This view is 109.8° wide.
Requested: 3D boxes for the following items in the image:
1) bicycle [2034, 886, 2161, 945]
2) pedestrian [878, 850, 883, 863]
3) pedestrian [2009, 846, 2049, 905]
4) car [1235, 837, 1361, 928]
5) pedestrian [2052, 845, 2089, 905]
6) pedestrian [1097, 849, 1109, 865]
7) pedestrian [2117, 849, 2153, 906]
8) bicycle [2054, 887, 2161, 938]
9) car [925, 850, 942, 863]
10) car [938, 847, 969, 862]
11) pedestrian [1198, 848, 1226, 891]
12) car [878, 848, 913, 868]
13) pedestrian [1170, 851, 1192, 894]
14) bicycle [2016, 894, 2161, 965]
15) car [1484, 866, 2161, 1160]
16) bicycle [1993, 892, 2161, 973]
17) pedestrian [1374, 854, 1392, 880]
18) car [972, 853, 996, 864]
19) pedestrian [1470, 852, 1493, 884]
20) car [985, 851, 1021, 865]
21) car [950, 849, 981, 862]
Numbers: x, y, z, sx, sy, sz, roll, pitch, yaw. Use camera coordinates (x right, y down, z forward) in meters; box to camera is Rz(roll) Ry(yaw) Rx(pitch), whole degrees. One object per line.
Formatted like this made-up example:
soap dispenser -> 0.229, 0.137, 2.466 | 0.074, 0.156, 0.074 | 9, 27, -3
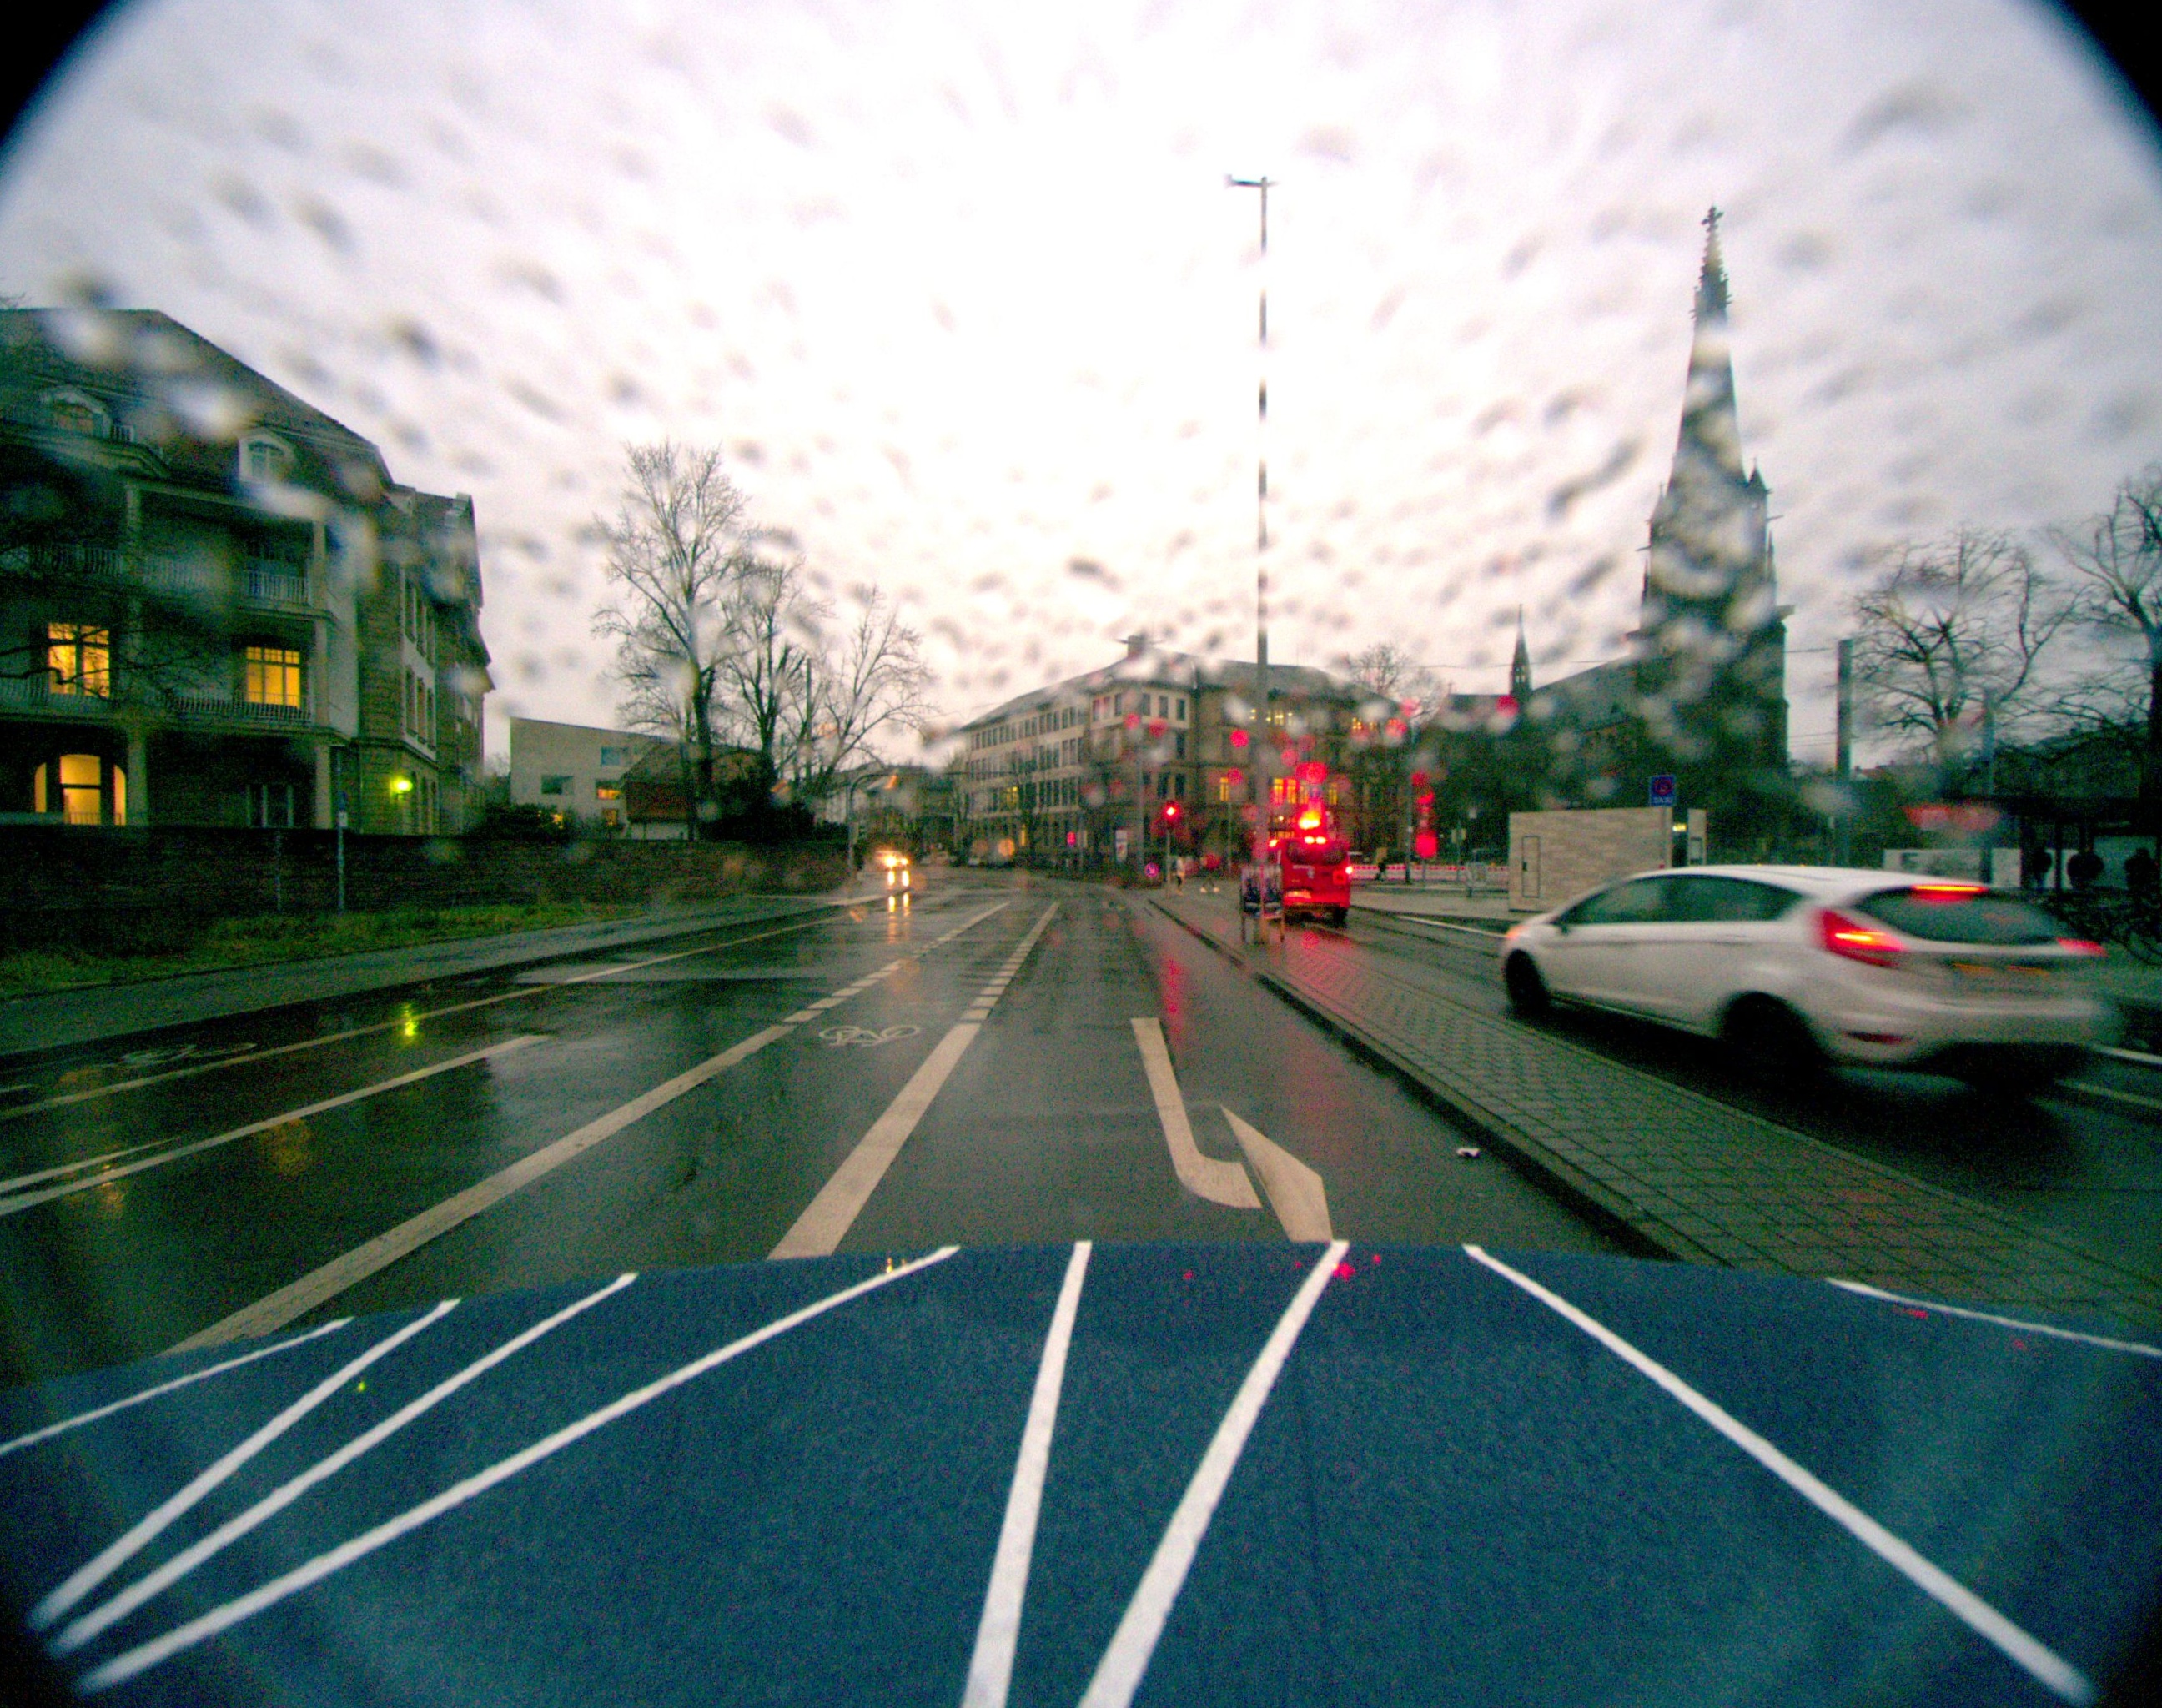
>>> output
bicycle -> 19.692, 1.167, 14.432 | 0.475, 0.980, 1.921 | -2, 2, -30
pedestrian -> -31.365, 0.357, 118.896 | 0.548, 2.002, 0.473 | 0, 1, -33
pedestrian -> 29.655, 0.656, 23.780 | 0.668, 1.785, 0.828 | -1, 2, 43
car -> 5.488, 0.655, 19.883 | 1.929, 2.058, 4.643 | 1, 0, 0
pedestrian -> 30.236, 0.641, 23.219 | 0.673, 1.785, 0.626 | -3, 2, -41
pedestrian -> 2.288, 0.315, 80.099 | 0.829, 1.714, 0.926 | 0, 0, -37
pedestrian -> 31.048, 0.690, 22.391 | 0.541, 1.642, 0.562 | -3, 2, -41
bicycle -> 20.848, 1.159, 15.021 | 0.475, 0.905, 1.921 | -2, 2, -30
car -> -20.735, 0.364, 106.850 | 2.000, 1.660, 3.997 | -2, 1, -7
car -> -16.995, 0.069, 101.476 | 2.043, 1.889, 4.007 | -2, 1, 28
pedestrian -> 5.901, 0.686, 34.272 | 1.000, 1.890, 0.673 | 1, 1, -14
car -> -19.800, 0.474, 80.799 | 2.003, 2.002, 4.879 | -3, 1, -33
pedestrian -> 4.055, 0.755, 30.912 | 0.798, 1.713, 0.674 | 1, 1, 0
bicycle -> 16.617, 1.212, 12.220 | 0.475, 0.980, 1.921 | -2, 2, -30
car -> 5.114, 0.902, 5.955 | 1.744, 1.440, 3.712 | 2, 1, -3
bicycle -> 15.499, 1.178, 11.615 | 0.475, 1.064, 1.921 | -2, 2, -30
pedestrian -> 20.742, 0.891, 52.164 | 0.675, 1.806, 0.896 | 0, 1, -28
car -> -12.134, 0.568, 95.312 | 1.706, 1.298, 3.647 | -2, 1, 16
pedestrian -> 24.122, 0.855, 45.785 | 0.675, 1.890, 0.971 | 0, 1, -35
car -> -9.253, 0.474, 90.515 | 1.797, 1.541, 4.007 | -1, 1, 45
car -> -15.090, 0.193, 99.410 | 1.797, 1.541, 4.007 | -2, 1, 28
